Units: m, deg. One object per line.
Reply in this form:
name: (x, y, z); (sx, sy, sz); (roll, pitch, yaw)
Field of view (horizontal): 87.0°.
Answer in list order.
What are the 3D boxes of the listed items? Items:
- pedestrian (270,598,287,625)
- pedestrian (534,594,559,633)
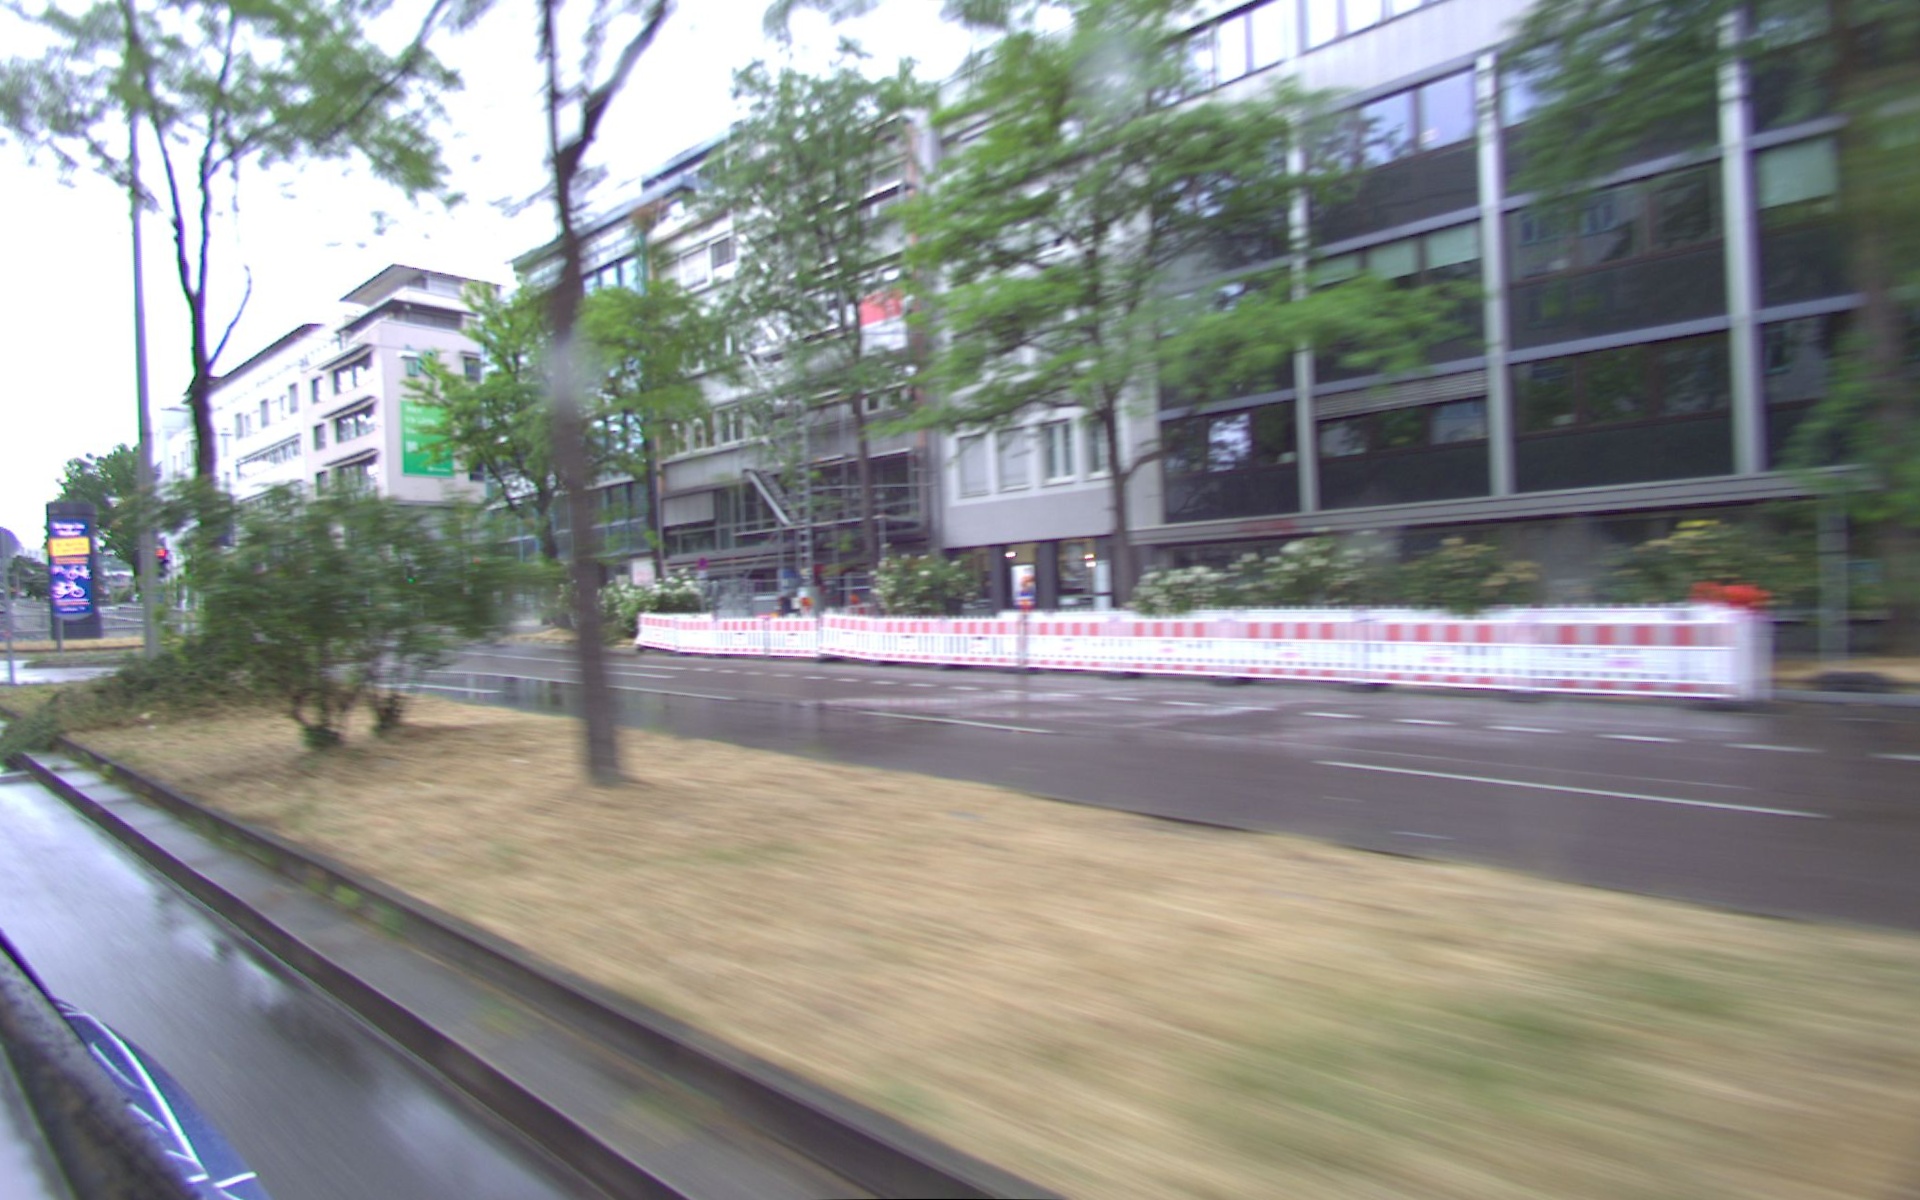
pedestrian: (-44.238, 0.738, 65.694); (0.803, 1.741, 0.687); (-1, 0, 39)
pedestrian: (-18.367, 0.603, 44.947); (0.757, 1.727, 0.731); (-1, 0, 41)
